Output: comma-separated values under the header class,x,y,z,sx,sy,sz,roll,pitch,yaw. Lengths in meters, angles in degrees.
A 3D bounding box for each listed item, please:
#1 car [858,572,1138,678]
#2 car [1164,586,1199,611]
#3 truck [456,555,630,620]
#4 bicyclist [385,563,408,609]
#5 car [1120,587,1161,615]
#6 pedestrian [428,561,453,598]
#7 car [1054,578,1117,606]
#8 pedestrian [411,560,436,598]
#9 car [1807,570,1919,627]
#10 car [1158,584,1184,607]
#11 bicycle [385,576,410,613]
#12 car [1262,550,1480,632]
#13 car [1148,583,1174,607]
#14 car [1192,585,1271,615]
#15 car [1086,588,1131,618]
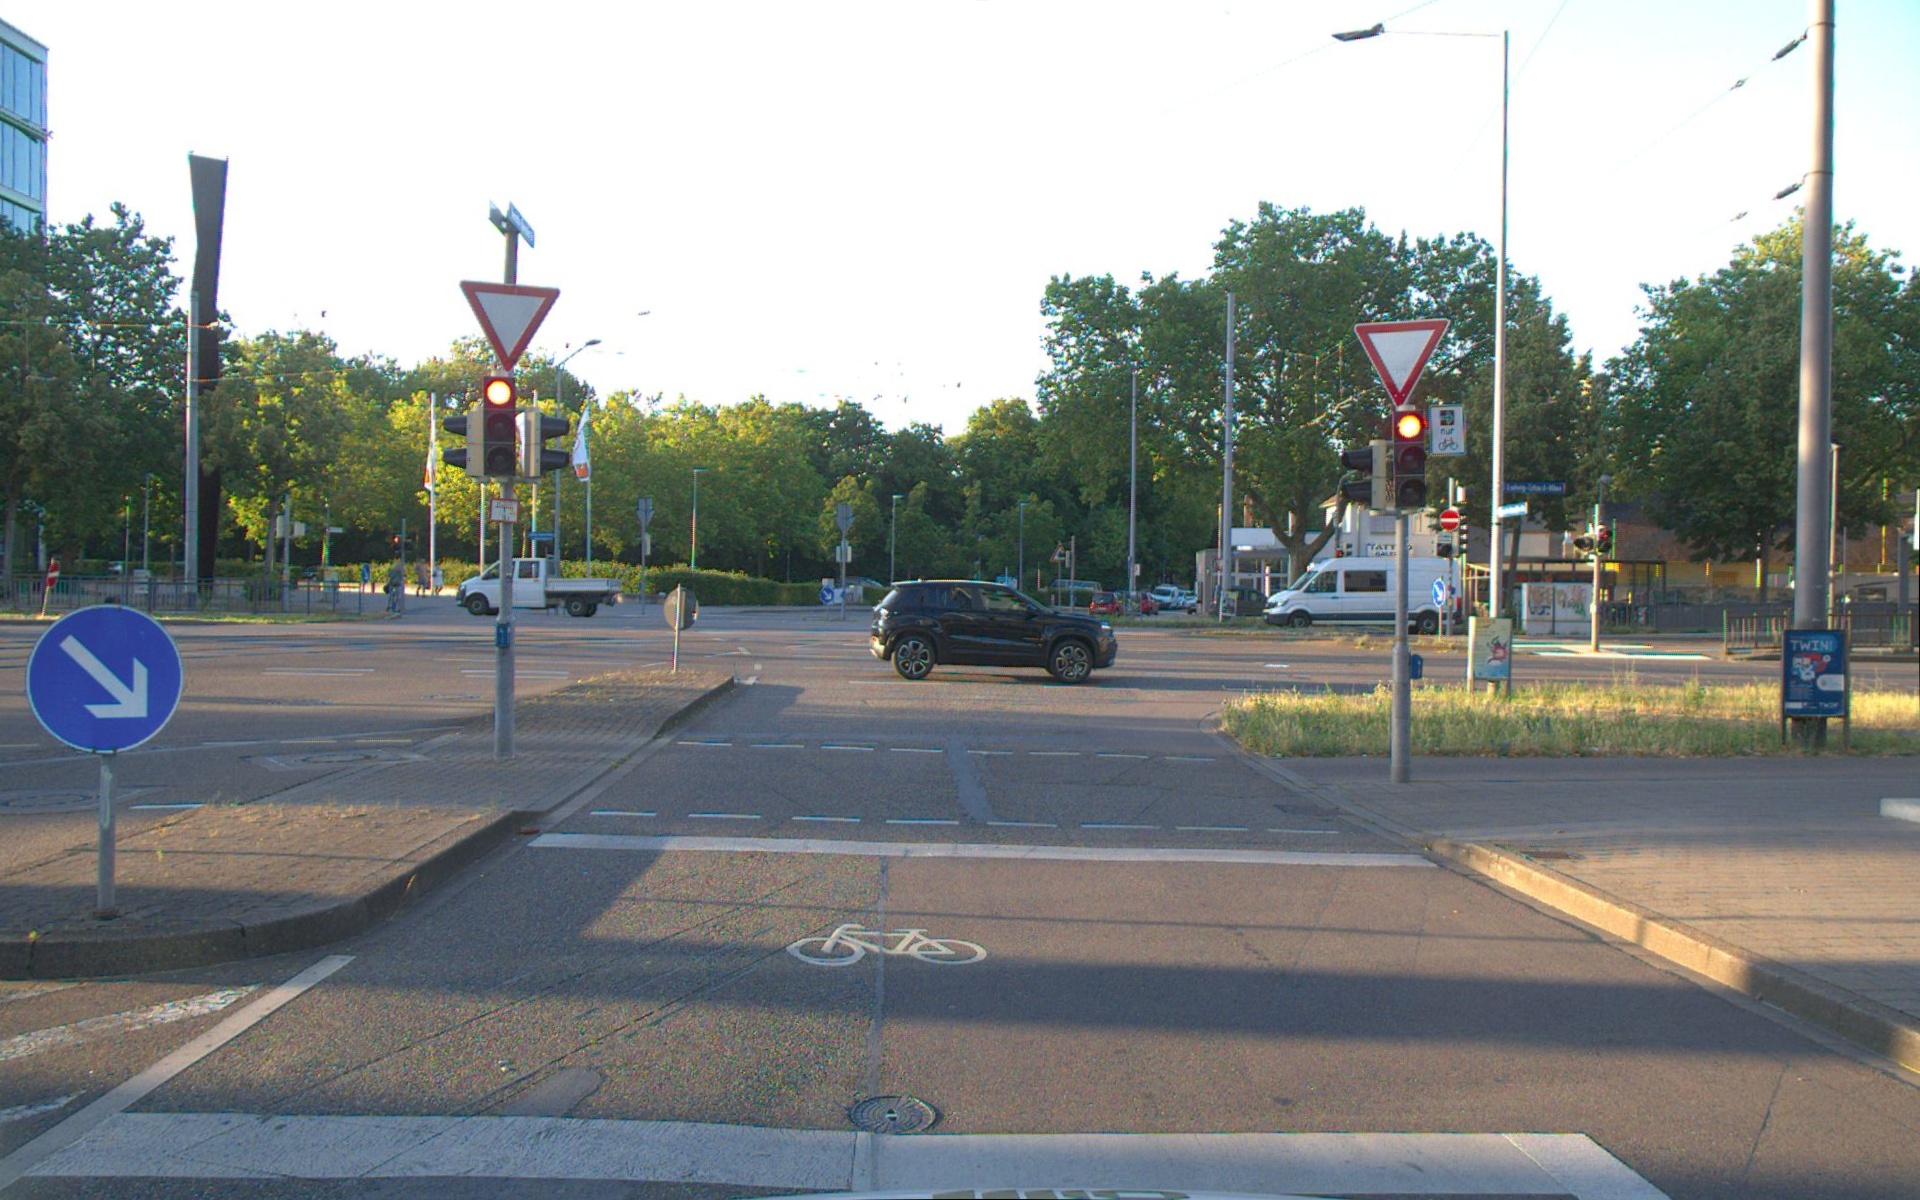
class,x,y,z,sx,sy,sz,roll,pitch,yaw
car,0.548,0.389,26.799,4.347,1.601,1.998,1,0,-5
car,15.554,-0.076,115.829,1.951,1.691,4.003,0,-1,14
truck,-14.212,-0.429,56.600,5.445,2.090,2.067,1,0,-3
bicyclist,-21.408,-0.523,62.826,0.740,1.739,0.914,1,0,-23
car,11.319,0.083,103.537,1.951,1.691,4.003,0,-1,14
pedestrian,-24.945,-0.983,79.461,0.847,1.774,0.826,1,0,39
car,9.508,-0.603,126.022,4.675,2.041,2.000,1,-1,1
pedestrian,-25.545,-0.990,78.765,0.847,1.774,0.826,1,0,40
car,43.634,-0.087,78.691,5.476,2.596,2.231,1,0,7
car,17.407,-0.366,136.347,1.823,1.825,4.003,0,-1,12
bicycle,-21.460,-0.210,63.077,0.720,1.364,2.672,1,1,-22
car,14.043,-0.286,56.883,6.777,2.682,2.811,1,-1,-1
car,15.998,-0.376,131.432,1.823,1.825,4.003,1,-1,10
car,14.654,0.015,89.383,4.129,1.579,2.001,1,-1,7
car,8.621,0.210,95.807,1.951,1.691,4.003,0,-1,14
